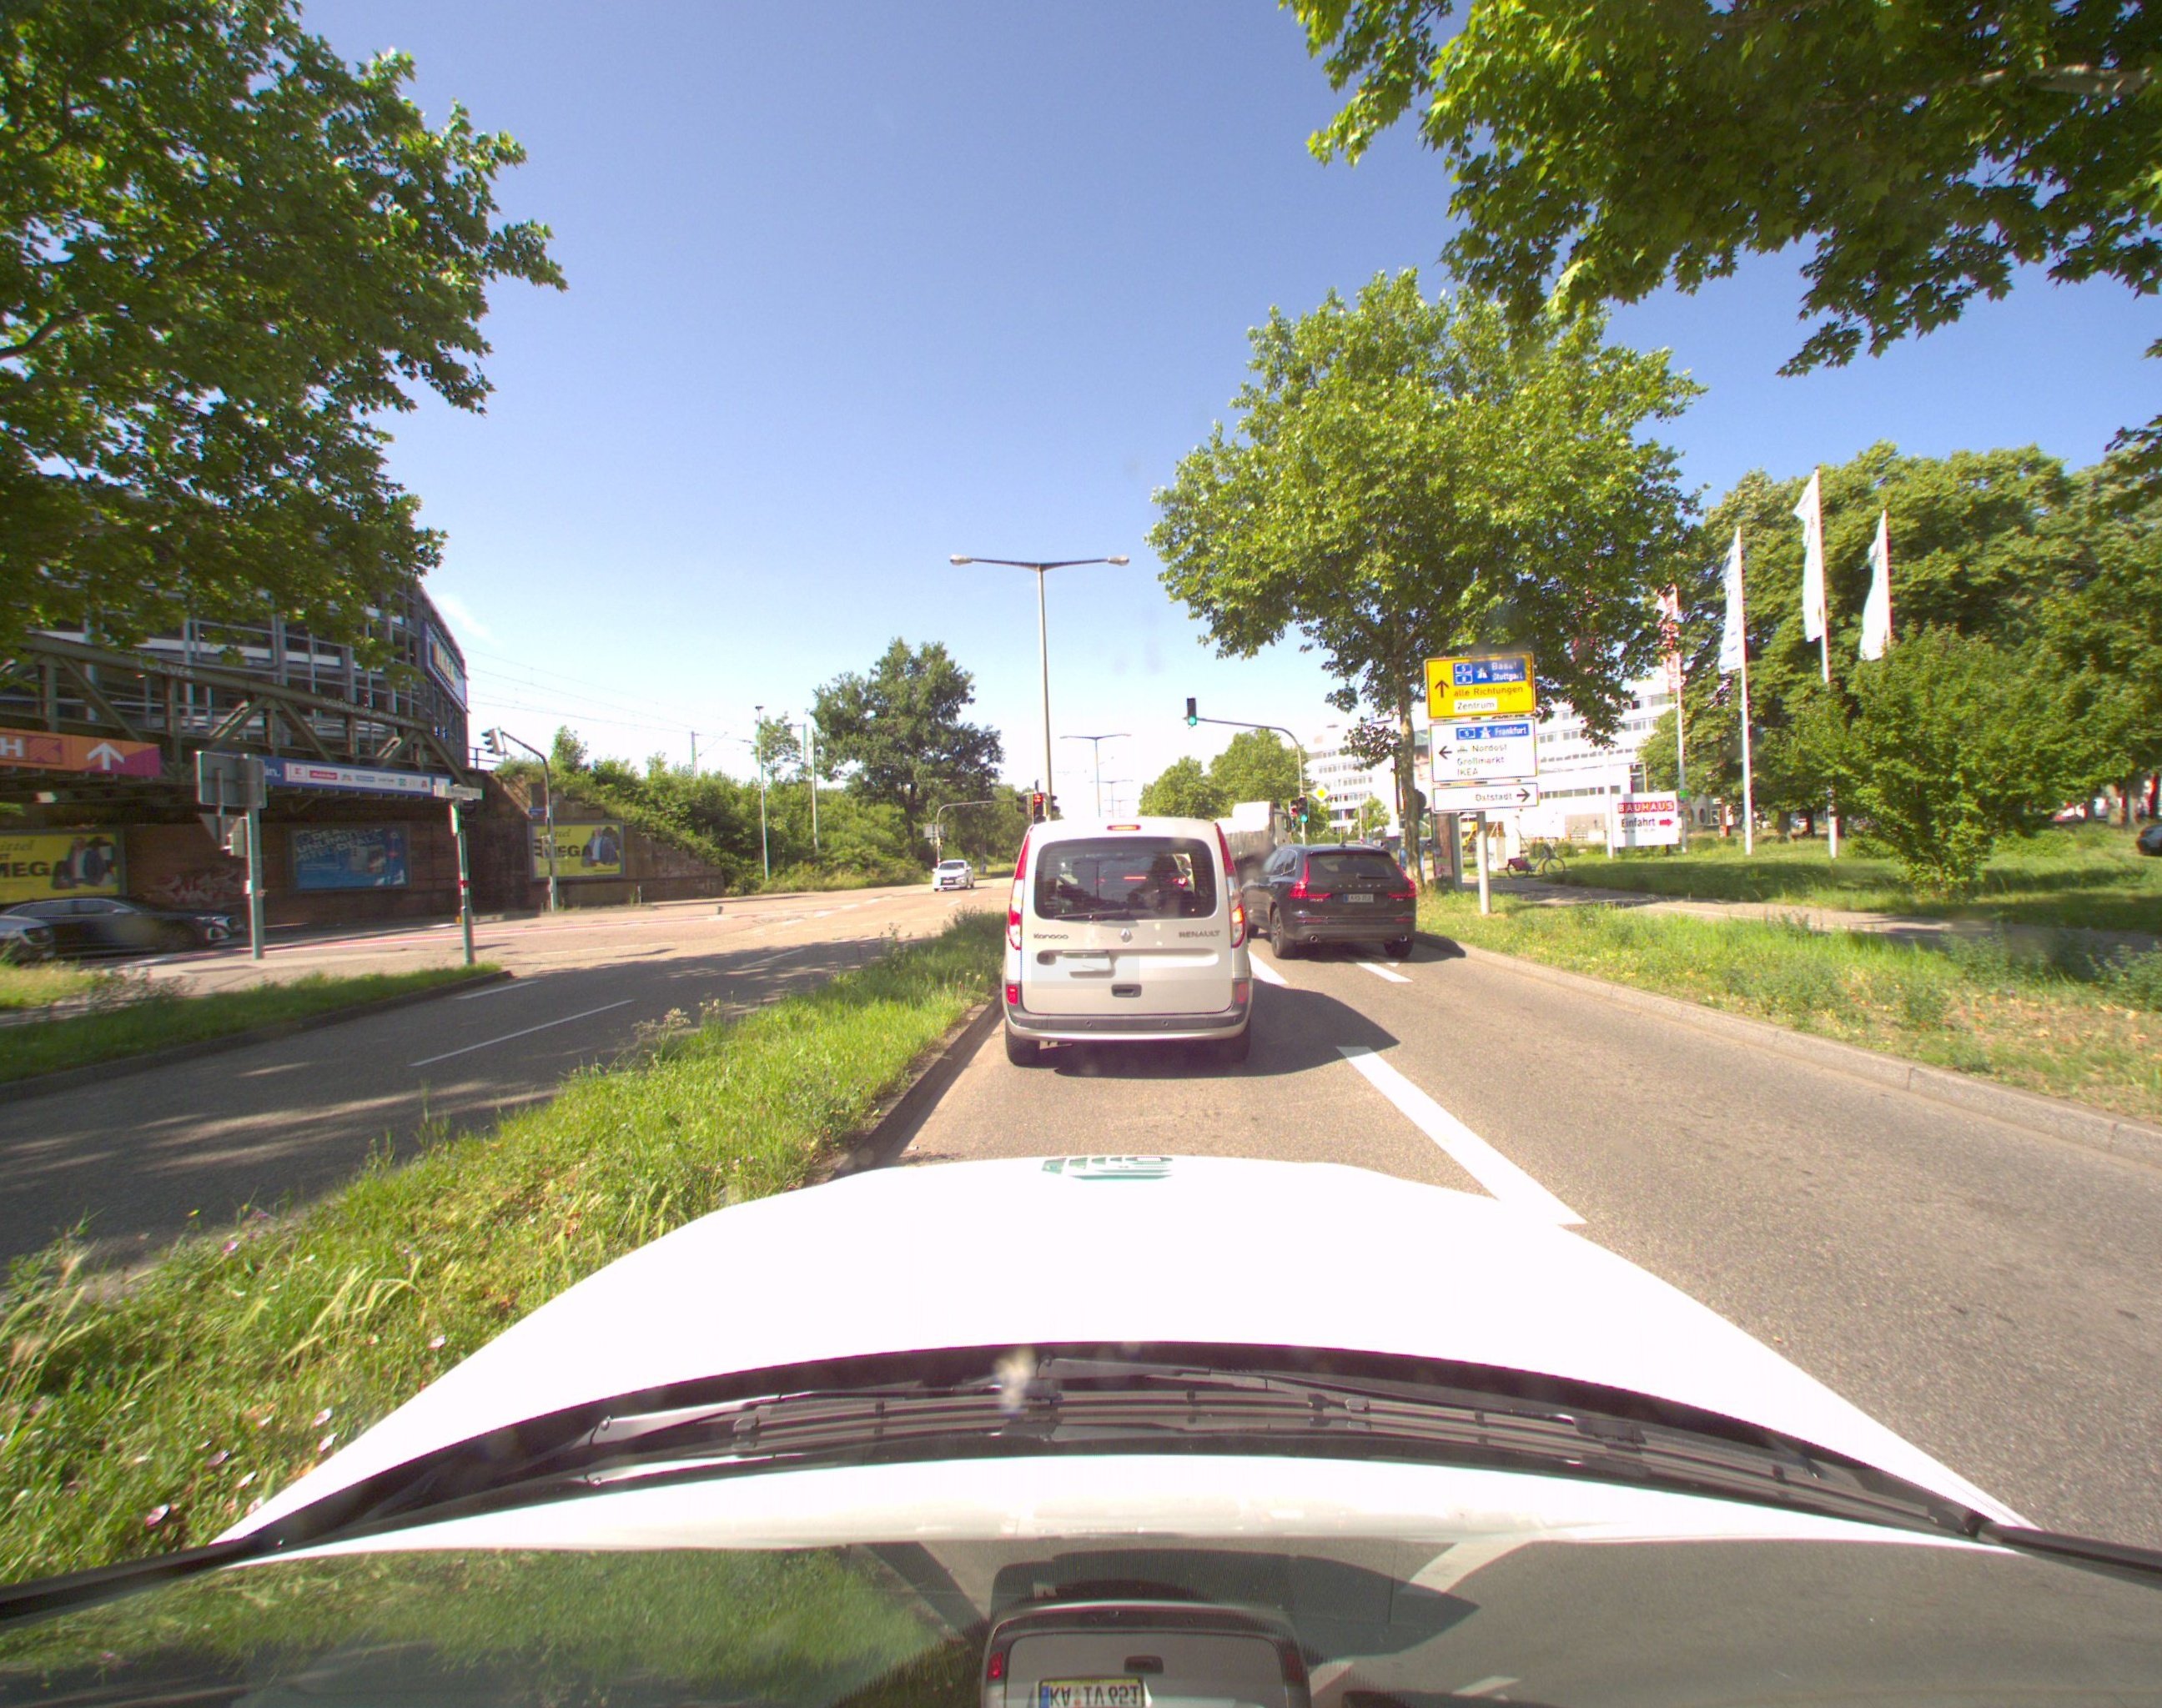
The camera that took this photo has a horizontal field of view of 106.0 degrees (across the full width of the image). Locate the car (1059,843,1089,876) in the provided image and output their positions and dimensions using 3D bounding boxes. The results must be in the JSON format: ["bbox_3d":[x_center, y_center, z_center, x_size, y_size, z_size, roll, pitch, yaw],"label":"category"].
[{"bbox_3d":[-0.594,0.486,69.786,1.984,2.607,5.140,-3,-1,5],"label":"car"}]

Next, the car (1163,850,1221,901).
[{"bbox_3d":[3.531,0.667,26.316,1.532,1.514,3.261,0,-1,2],"label":"car"}]

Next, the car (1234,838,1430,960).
[{"bbox_3d":[3.711,0.606,12.926,1.868,1.591,4.435,0,0,2],"label":"car"}]

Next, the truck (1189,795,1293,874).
[{"bbox_3d":[8.324,-0.880,41.615,2.882,3.643,7.234,-1,-1,31],"label":"truck"}]

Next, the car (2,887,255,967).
[{"bbox_3d":[-25.765,1.917,22.271,4.015,1.646,1.885,-4,1,-32],"label":"car"}]

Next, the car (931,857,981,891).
[{"bbox_3d":[-6.213,0.970,40.923,1.693,1.508,4.002,-2,0,2],"label":"car"}]

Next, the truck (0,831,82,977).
[{"bbox_3d":[-26.321,1.272,16.683,6.890,3.105,2.196,-4,1,-32],"label":"truck"}]

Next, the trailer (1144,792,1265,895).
[{"bbox_3d":[5.702,-0.323,34.861,2.876,3.622,12.746,-1,-1,19],"label":"trailer"}]

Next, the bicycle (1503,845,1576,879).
[{"bbox_3d":[15.013,0.274,26.729,1.985,1.014,0.624,-3,0,18],"label":"bicycle"}]

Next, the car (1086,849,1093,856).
[{"bbox_3d":[2.684,-0.489,251.069,1.880,2.014,4.004,0,-1,4],"label":"car"}]

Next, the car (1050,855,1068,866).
[{"bbox_3d":[-3.056,0.902,113.328,1.984,1.540,4.241,-3,-1,5],"label":"car"}]

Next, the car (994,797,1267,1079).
[{"bbox_3d":[0.385,0.568,7.345,1.779,1.838,4.001,0,0,2],"label":"car"}]

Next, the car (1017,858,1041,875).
[{"bbox_3d":[-5.457,1.267,85.324,1.902,1.641,3.742,-3,-1,5],"label":"car"}]

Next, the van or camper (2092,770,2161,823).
[{"bbox_3d":[63.642,-3.388,46.508,2.007,2.942,7.213,0,-1,-32],"label":"van or camper"}]
